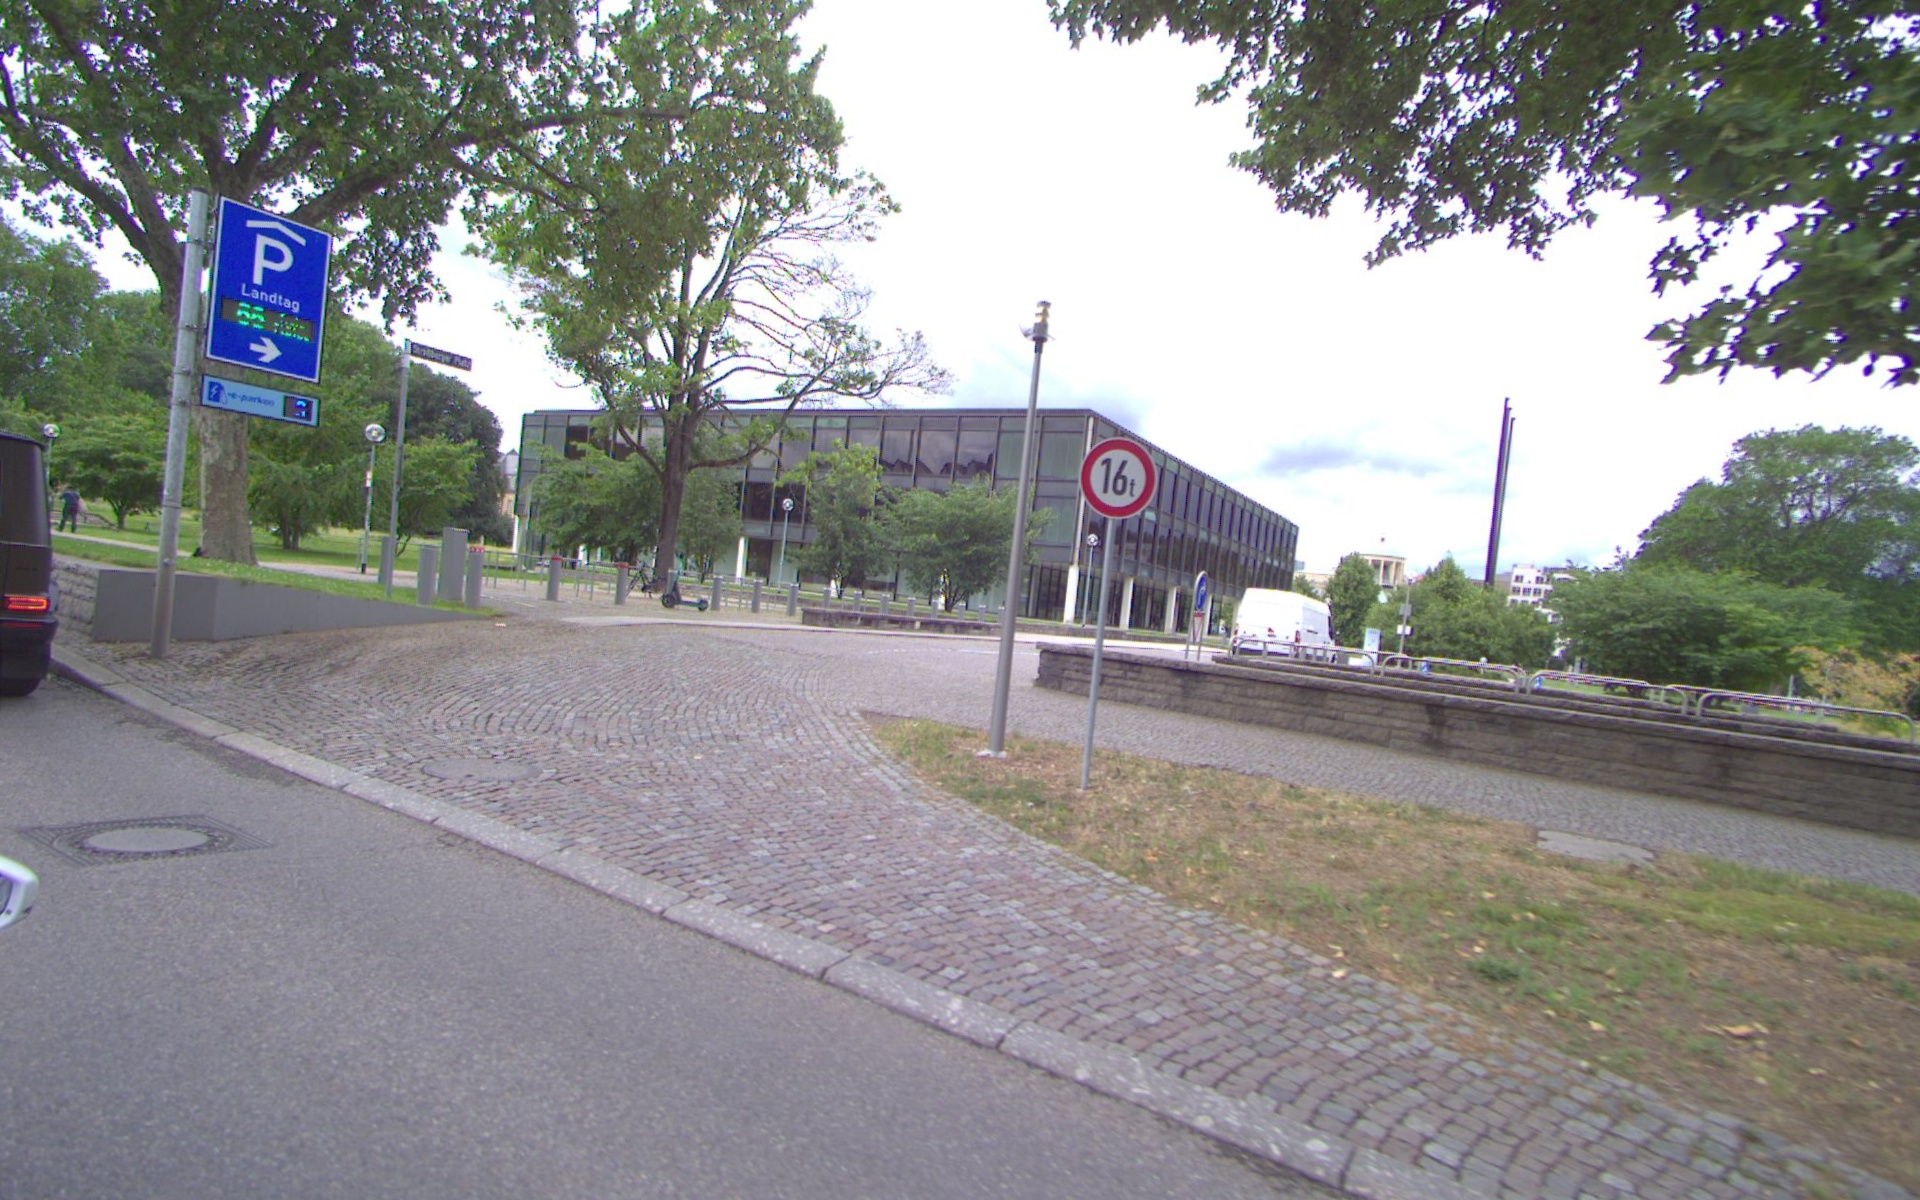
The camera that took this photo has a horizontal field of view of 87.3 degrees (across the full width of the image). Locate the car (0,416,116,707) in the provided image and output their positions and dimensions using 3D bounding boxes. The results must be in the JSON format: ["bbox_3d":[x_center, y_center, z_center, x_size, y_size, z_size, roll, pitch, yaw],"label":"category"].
[{"bbox_3d":[-8.557,-0.486,7.525,4.630,1.915,1.981,6,-2,32],"label":"car"}]

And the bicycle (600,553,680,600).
[{"bbox_3d":[-9.138,-0.657,28.818,0.674,1.156,2.193,7,1,32],"label":"bicycle"}]

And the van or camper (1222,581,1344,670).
[{"bbox_3d":[10.571,0.908,32.580,2.282,2.347,5.705,5,-2,32],"label":"van or camper"}]

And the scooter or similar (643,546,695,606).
[{"bbox_3d":[-6.597,-0.541,22.812,0.716,1.262,0.717,6,1,31],"label":"scooter or similar"}]
